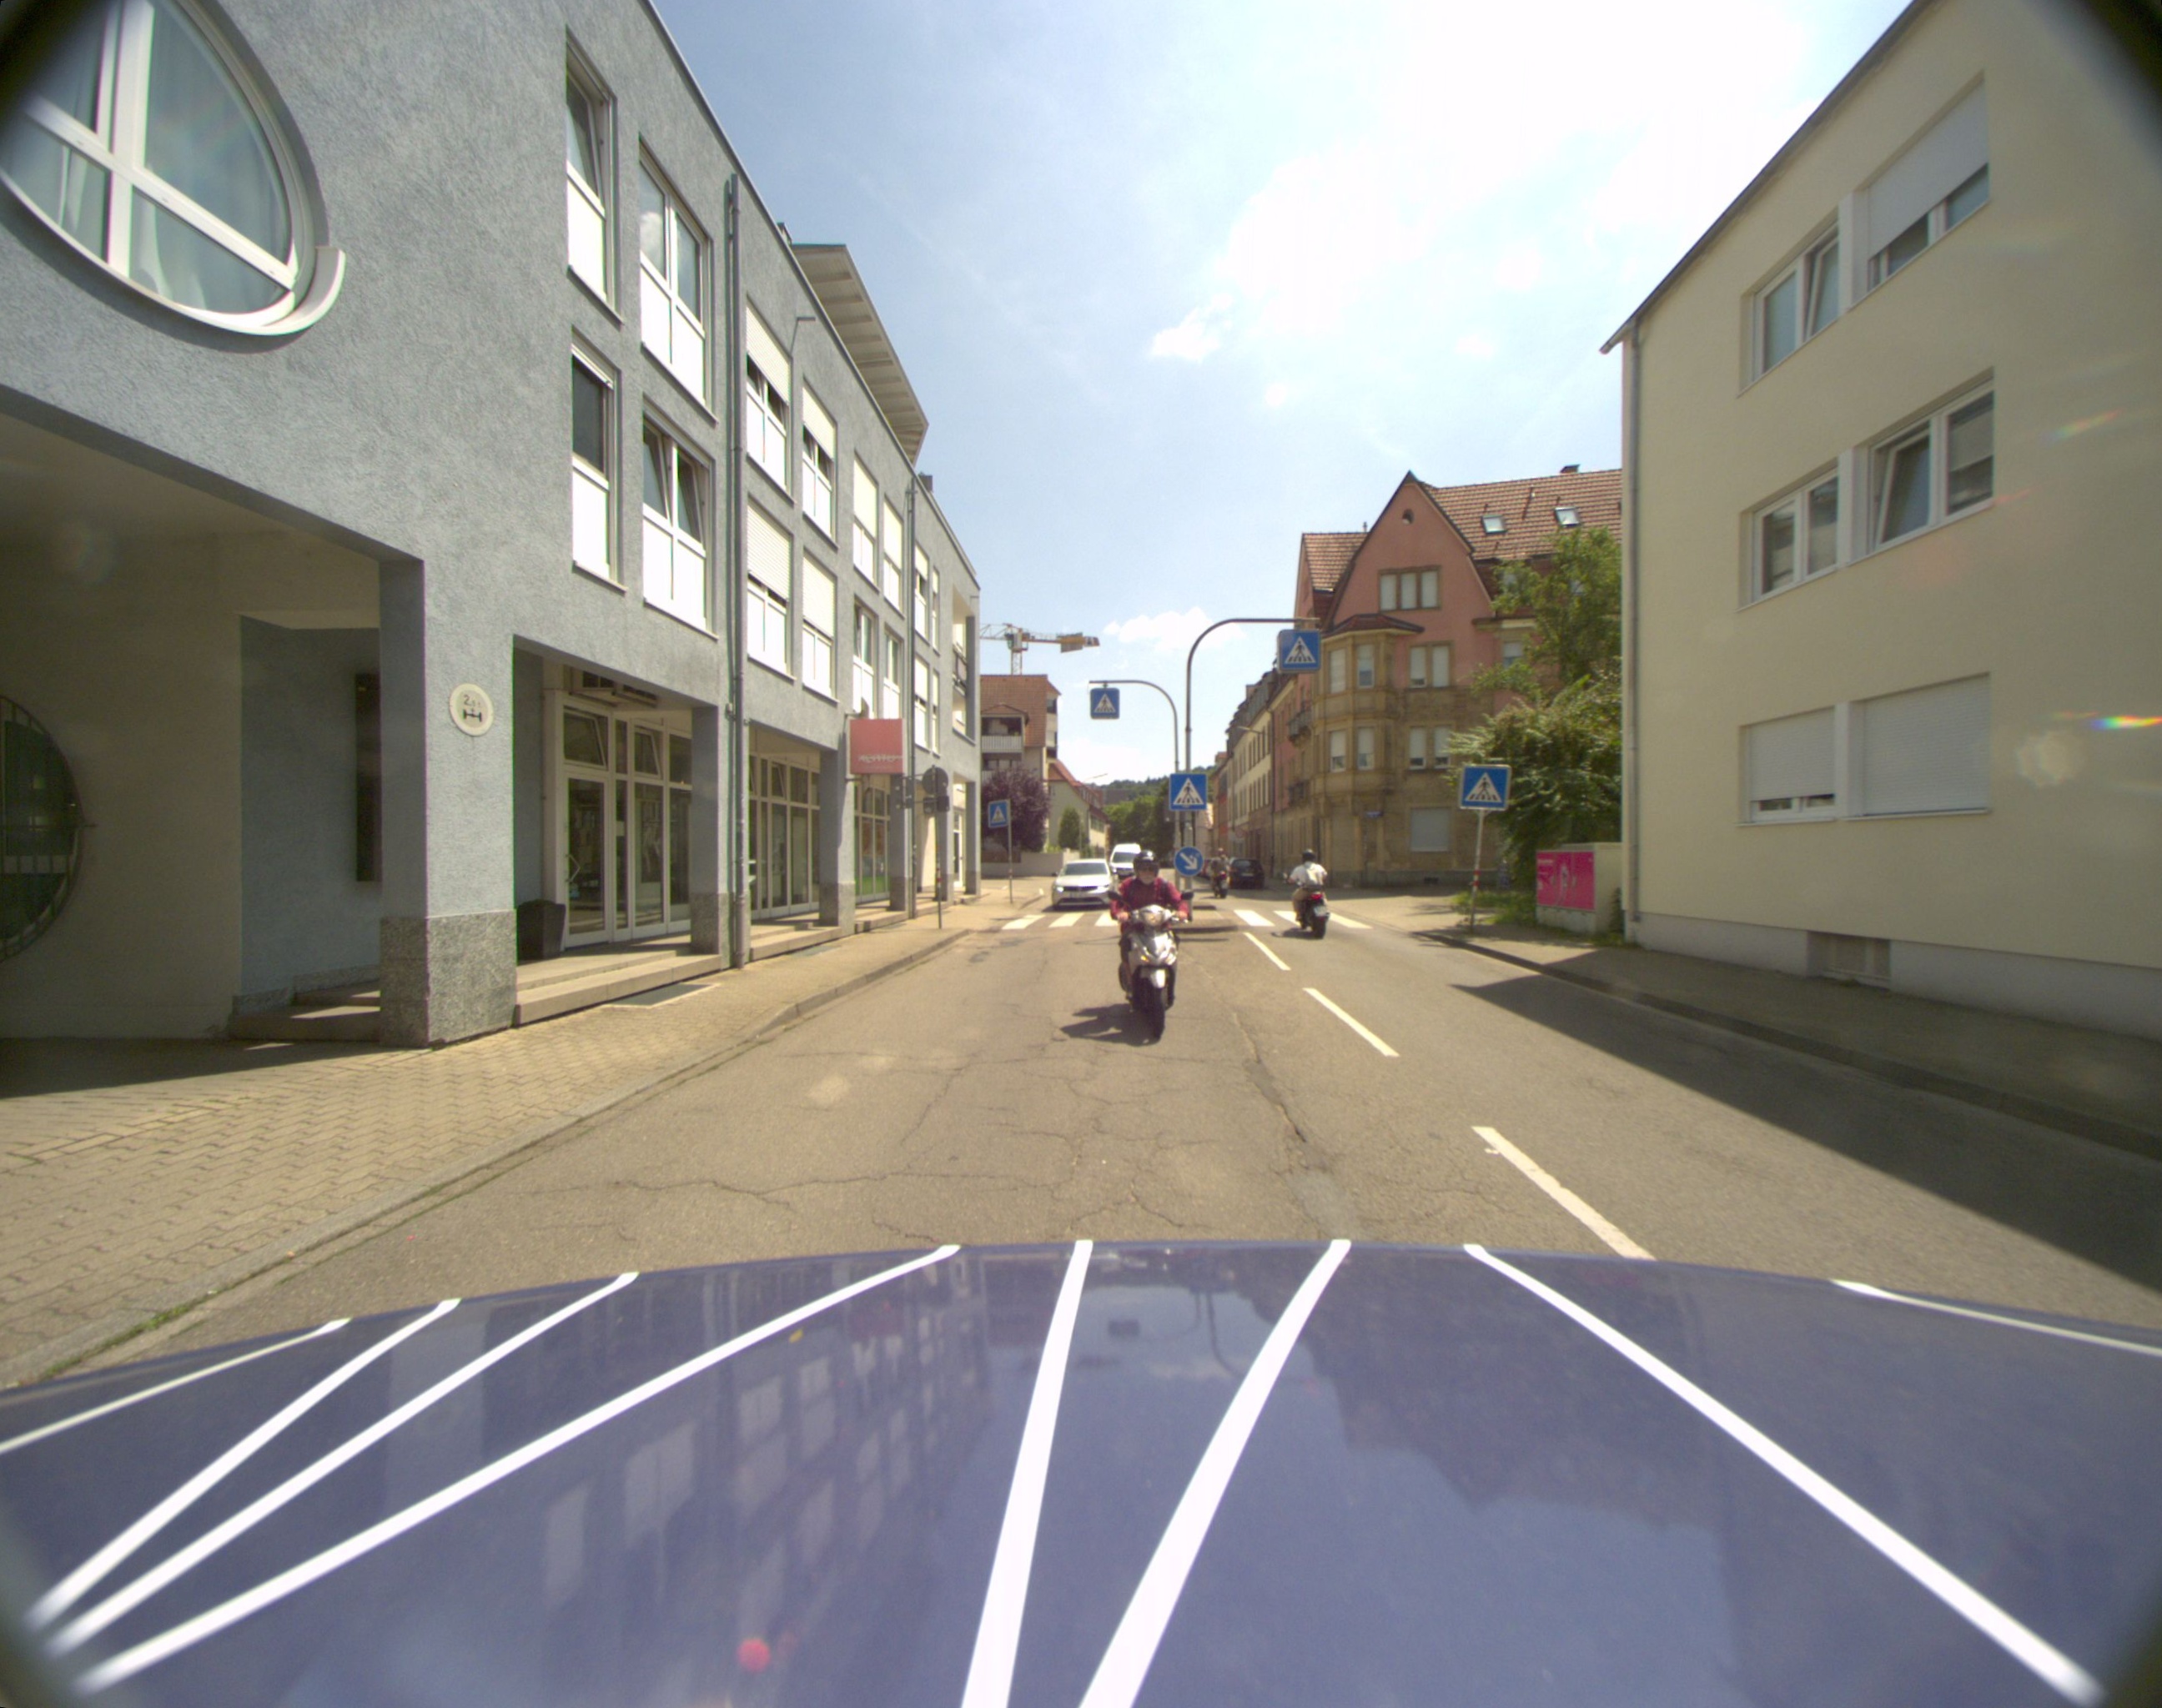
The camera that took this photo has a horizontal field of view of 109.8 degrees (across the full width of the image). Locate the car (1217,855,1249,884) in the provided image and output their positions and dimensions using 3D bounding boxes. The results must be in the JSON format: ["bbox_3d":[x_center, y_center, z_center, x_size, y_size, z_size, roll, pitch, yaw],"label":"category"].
[{"bbox_3d":[8.211,0.806,41.242,1.439,1.514,2.696,0,1,5],"label":"car"}]

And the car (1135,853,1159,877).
[{"bbox_3d":[5.903,0.942,68.258,1.998,2.002,4.001,-2,0,5],"label":"car"}]

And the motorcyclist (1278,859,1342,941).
[{"bbox_3d":[4.286,0.832,14.302,0.918,1.471,1.203,0,1,5],"label":"motorcyclist"}]

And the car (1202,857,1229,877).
[{"bbox_3d":[9.933,0.948,56.154,1.602,1.433,3.496,1,0,4],"label":"car"}]

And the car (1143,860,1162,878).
[{"bbox_3d":[8.466,1.751,89.797,1.997,2.002,4.002,-2,0,7],"label":"car"}]

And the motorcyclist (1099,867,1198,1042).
[{"bbox_3d":[0.606,0.842,6.802,0.792,1.431,1.021,-1,0,5],"label":"motorcyclist"}]

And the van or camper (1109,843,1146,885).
[{"bbox_3d":[2.737,0.543,43.670,1.998,2.273,5.146,0,0,5],"label":"van or camper"}]

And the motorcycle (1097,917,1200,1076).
[{"bbox_3d":[0.603,1.175,6.790,0.759,1.049,1.992,-1,0,5],"label":"motorcycle"}]

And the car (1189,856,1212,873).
[{"bbox_3d":[11.168,0.940,71.208,1.882,1.501,4.383,0,0,6],"label":"car"}]

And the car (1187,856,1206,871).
[{"bbox_3d":[12.085,1.010,79.849,1.714,1.451,3.855,1,0,5],"label":"car"}]

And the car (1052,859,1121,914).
[{"bbox_3d":[0.249,0.926,23.368,1.811,1.512,4.002,-1,0,5],"label":"car"}]

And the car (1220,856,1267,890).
[{"bbox_3d":[7.815,0.871,36.858,1.786,1.450,4.636,0,0,6],"label":"car"}]

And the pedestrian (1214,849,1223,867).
[{"bbox_3d":[13.689,0.370,75.484,0.770,1.760,0.764,-2,0,5],"label":"pedestrian"}]

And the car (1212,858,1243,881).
[{"bbox_3d":[9.636,0.975,50.222,1.638,1.423,4.020,1,0,6],"label":"car"}]

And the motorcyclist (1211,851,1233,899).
[{"bbox_3d":[4.942,0.717,26.639,0.714,1.625,1.069,1,0,8],"label":"motorcyclist"}]

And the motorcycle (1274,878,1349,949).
[{"bbox_3d":[4.288,1.068,14.291,0.898,1.169,2.209,0,0,5],"label":"motorcycle"}]

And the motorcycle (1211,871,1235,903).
[{"bbox_3d":[4.976,1.136,26.753,0.714,1.022,2.241,1,0,8],"label":"motorcycle"}]
